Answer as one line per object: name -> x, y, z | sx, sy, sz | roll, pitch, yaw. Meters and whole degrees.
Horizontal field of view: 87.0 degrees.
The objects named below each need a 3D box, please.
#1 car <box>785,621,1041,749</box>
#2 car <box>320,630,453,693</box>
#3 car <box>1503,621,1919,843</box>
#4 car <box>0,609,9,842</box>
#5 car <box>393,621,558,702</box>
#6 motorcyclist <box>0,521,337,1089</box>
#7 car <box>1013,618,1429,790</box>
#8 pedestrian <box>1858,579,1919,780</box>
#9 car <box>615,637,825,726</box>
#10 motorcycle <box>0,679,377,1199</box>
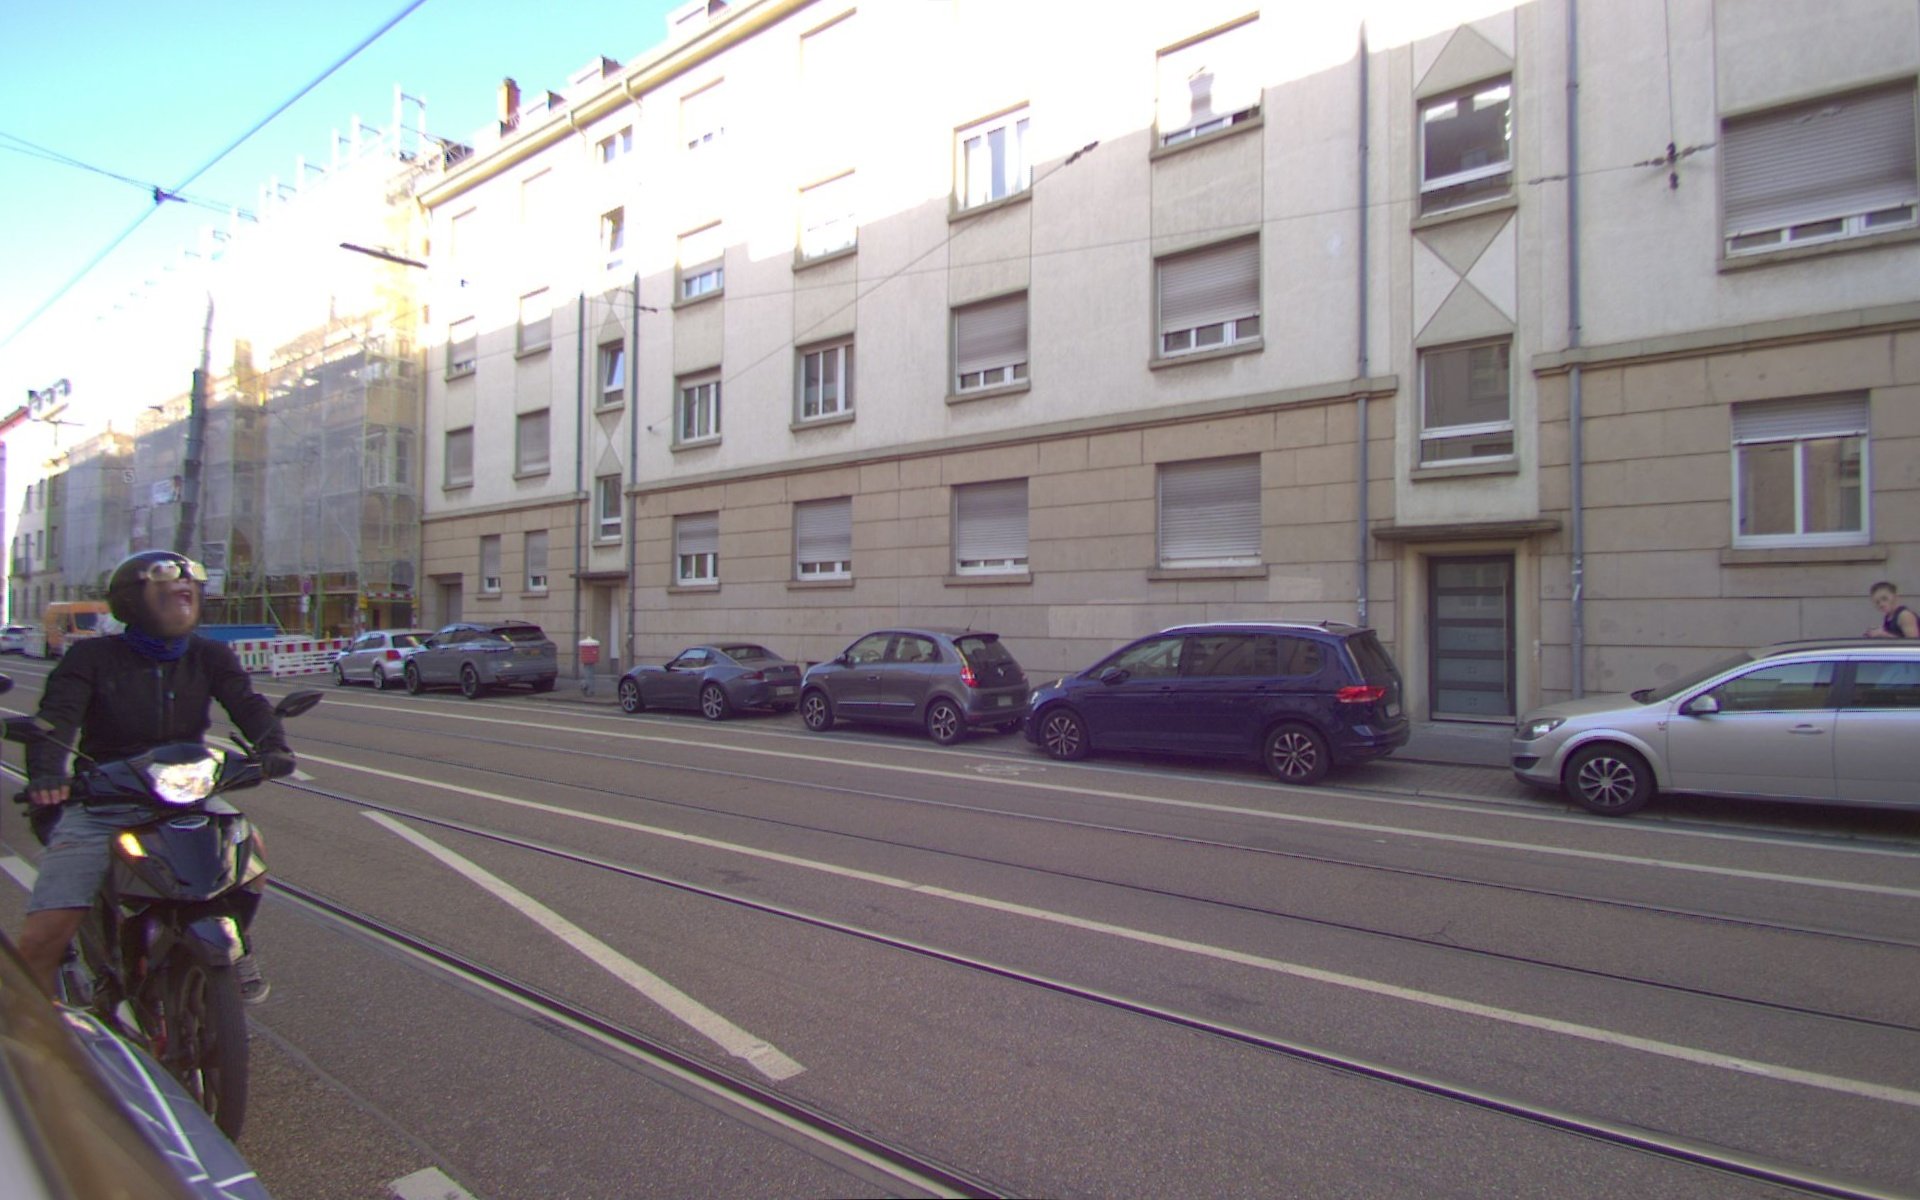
car -> -0.741, 1.119, 14.685 | 3.493, 1.584, 1.650 | -1, 0, 38
car -> -14.500, 1.496, 25.526 | 3.639, 1.402, 1.617 | -1, 0, 37
car -> 7.207, 0.994, 8.546 | 4.358, 1.571, 1.975 | -1, 0, 38
car -> -8.063, 0.832, 7.017 | 3.997, 1.515, 1.670 | -2, -3, 40
car -> -10.888, 1.305, 22.655 | 4.108, 1.603, 1.691 | -1, 0, 38
motorcyclist -> -2.545, 0.545, 3.184 | 0.598, 1.516, 0.851 | -1, 0, 41
car -> 2.911, 1.030, 11.719 | 4.285, 1.597, 1.887 | -1, 0, 37
pedestrian -> 9.012, 0.732, 9.578 | 0.733, 1.846, 0.592 | -1, 0, 41
car -> -4.199, 1.335, 17.552 | 3.483, 1.286, 1.730 | -1, 0, 37
motorcycle -> -2.436, 0.913, 3.079 | 1.980, 1.228, 0.532 | -1, 0, 41
